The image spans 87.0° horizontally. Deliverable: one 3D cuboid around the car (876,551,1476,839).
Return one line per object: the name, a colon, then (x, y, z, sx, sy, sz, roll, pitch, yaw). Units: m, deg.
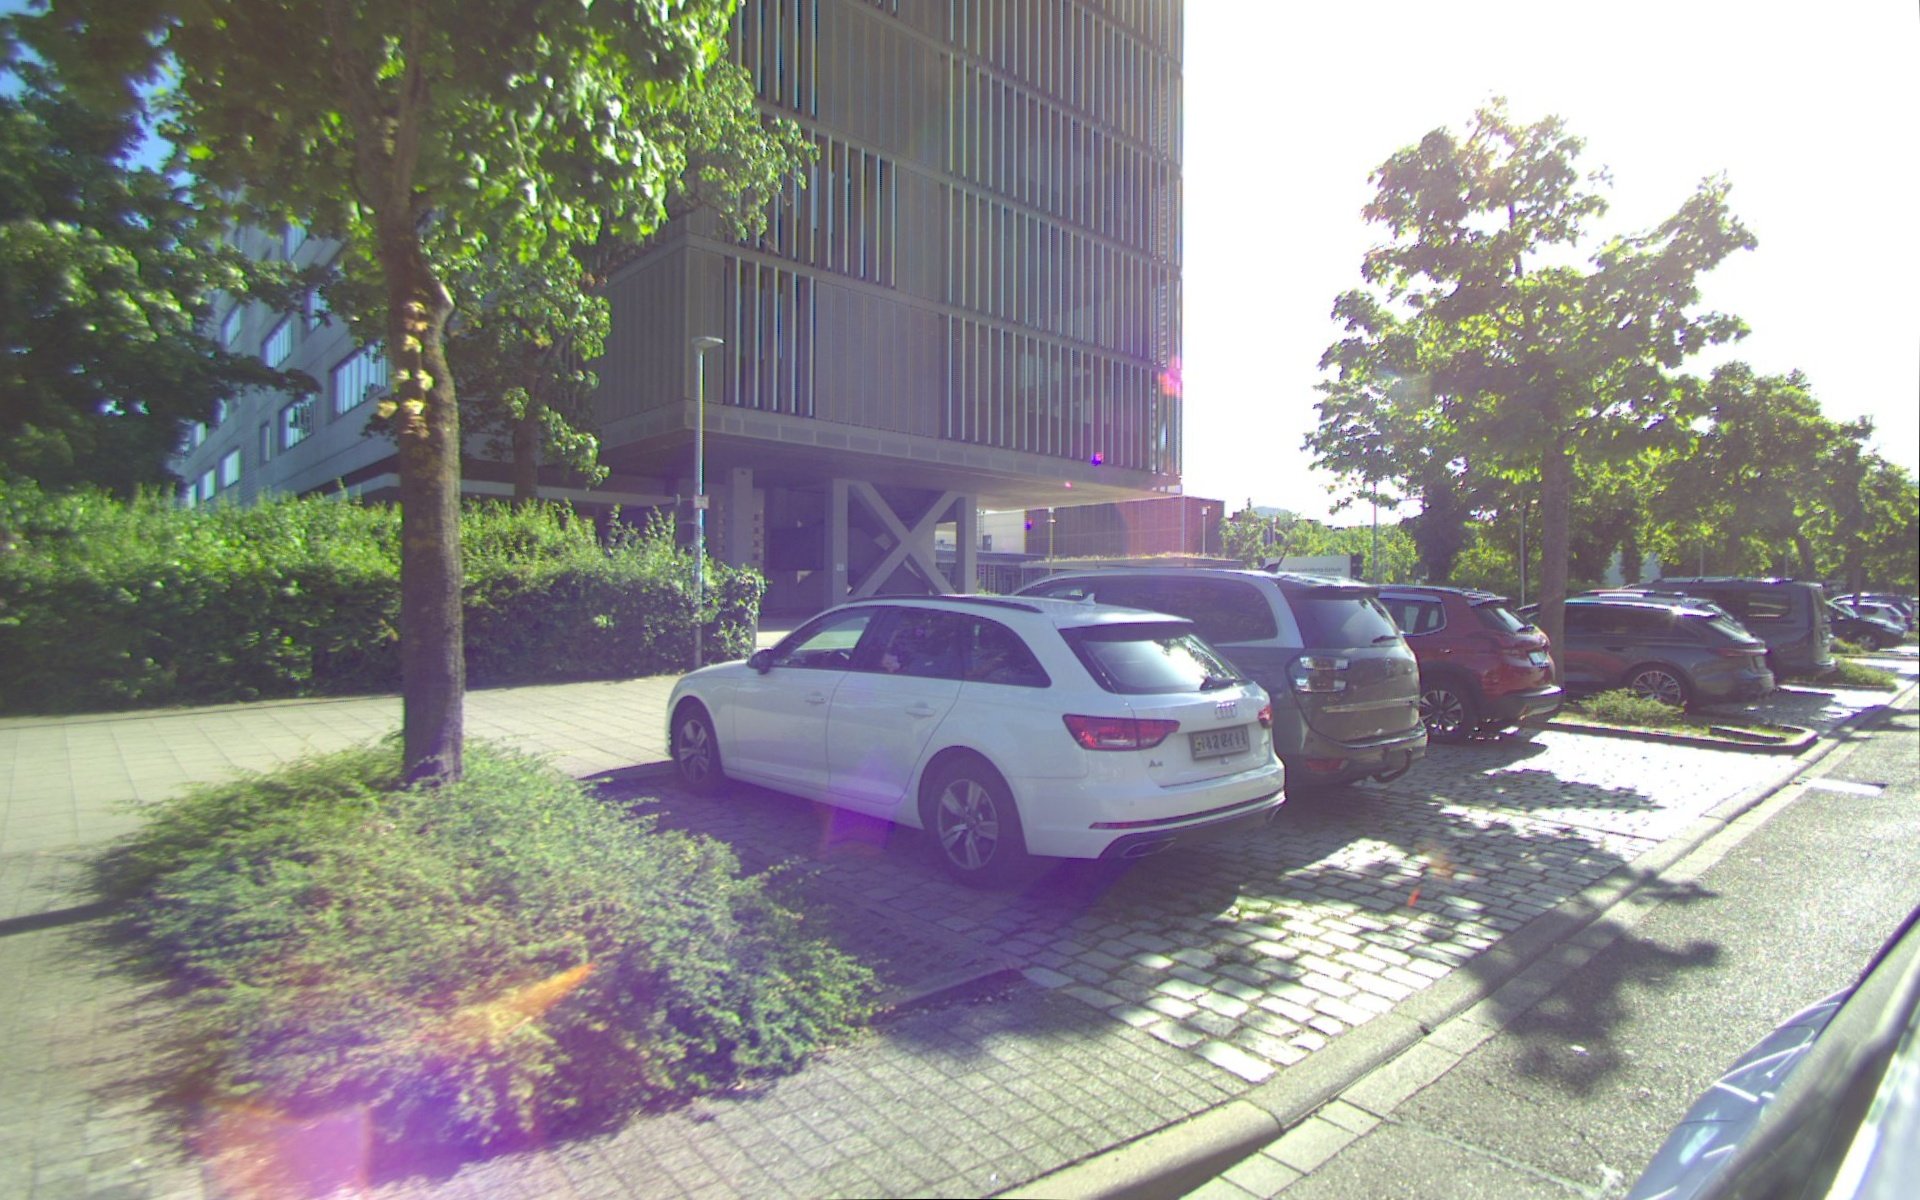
car: (1.461, 0.501, 8.178, 2.039, 1.661, 4.408, 0, 1, -42)

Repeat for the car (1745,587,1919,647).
car: (25.958, 0.452, 30.091, 1.648, 1.620, 3.954, 0, 1, -44)

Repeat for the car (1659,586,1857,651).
car: (20.554, 0.414, 26.184, 1.703, 1.532, 3.718, 0, 1, -37)

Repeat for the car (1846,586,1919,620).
car: (44.572, 0.150, 47.976, 1.648, 1.544, 3.712, 0, 1, -42)

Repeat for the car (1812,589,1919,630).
car: (37.620, 0.371, 41.689, 1.648, 1.586, 3.712, 0, 1, -42)

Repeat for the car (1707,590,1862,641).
car: (26.741, 0.462, 32.902, 1.648, 1.532, 3.712, 0, 1, -42)

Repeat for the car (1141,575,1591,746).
car: (4.388, 0.507, 11.510, 1.844, 1.555, 4.408, 0, 1, -42)

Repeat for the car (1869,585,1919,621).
car: (46.857, 0.157, 49.277, 1.648, 1.692, 3.712, 0, 1, -42)

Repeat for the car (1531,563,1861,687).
car: (12.846, 0.336, 17.880, 2.039, 1.916, 4.408, 0, 1, -42)

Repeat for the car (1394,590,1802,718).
car: (8.651, 0.595, 14.026, 2.039, 1.427, 4.408, 0, 1, -42)

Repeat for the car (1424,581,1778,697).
car: (10.090, 0.498, 16.195, 2.039, 1.577, 4.408, 0, 1, -42)

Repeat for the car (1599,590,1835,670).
car: (15.434, 0.543, 20.752, 1.648, 1.440, 3.647, 0, 1, -43)

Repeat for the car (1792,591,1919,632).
car: (34.267, 0.403, 38.586, 1.702, 1.444, 3.756, 0, 1, -43)

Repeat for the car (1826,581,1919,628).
car: (39.539, 0.175, 43.460, 1.668, 1.912, 3.386, 0, 1, -43)

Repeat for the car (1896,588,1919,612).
car: (61.433, 0.016, 63.588, 1.648, 1.444, 3.712, 0, 1, -42)

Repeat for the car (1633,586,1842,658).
car: (18.712, 0.464, 24.490, 1.645, 1.588, 3.718, 0, 1, -37)

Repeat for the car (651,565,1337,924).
car: (-0.130, 0.549, 6.454, 1.863, 1.481, 4.408, 0, 1, -42)
